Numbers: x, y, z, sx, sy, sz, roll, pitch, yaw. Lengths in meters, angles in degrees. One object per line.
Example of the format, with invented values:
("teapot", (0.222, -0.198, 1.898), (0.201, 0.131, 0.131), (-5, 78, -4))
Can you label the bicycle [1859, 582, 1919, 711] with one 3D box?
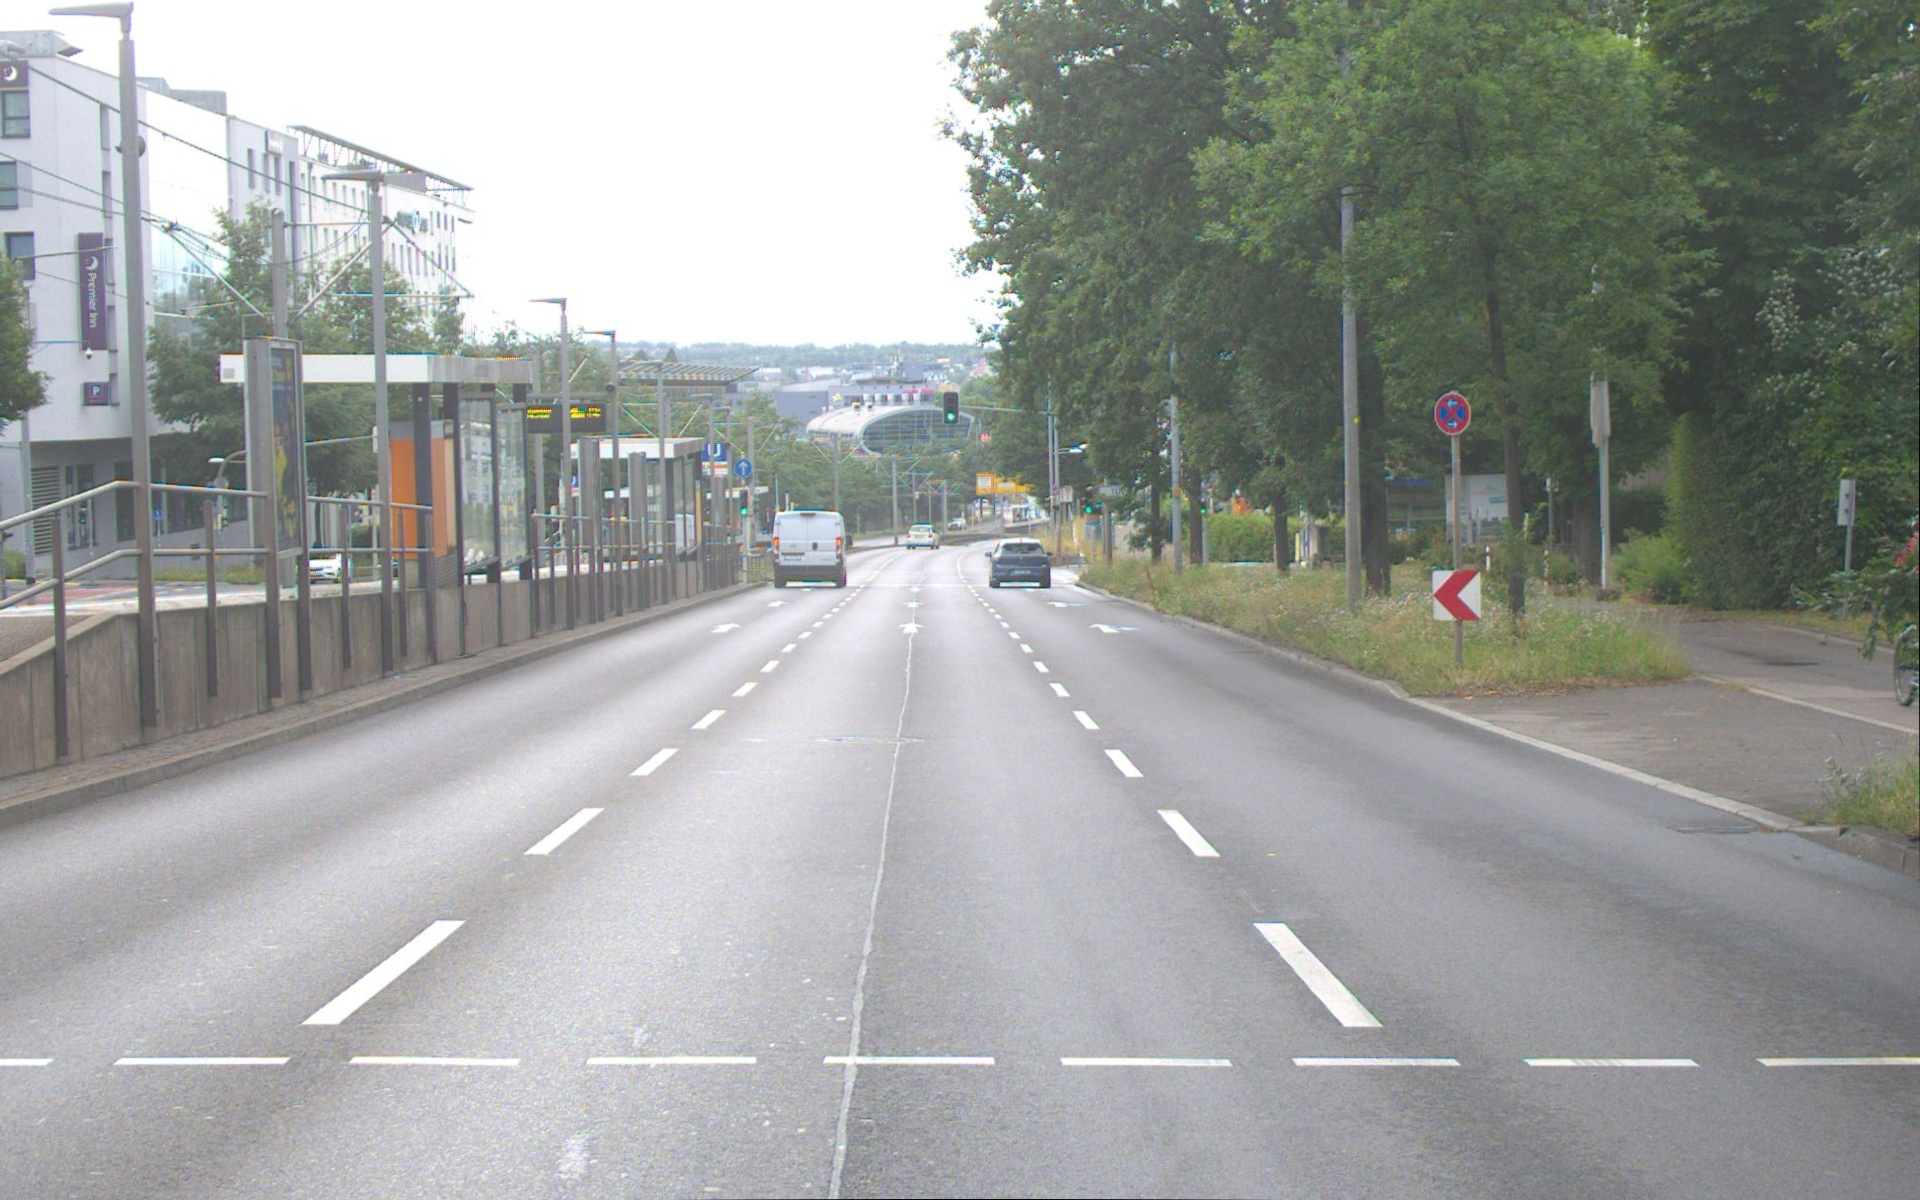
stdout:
("bicycle", (8.620, 0.405, 30.820), (0.580, 1.085, 1.906), (1, 1, -1))

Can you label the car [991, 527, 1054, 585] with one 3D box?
("car", (1.854, -1.321, 102.703), (1.774, 1.685, 3.845), (0, 1, -1))

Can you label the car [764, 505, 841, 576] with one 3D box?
("car", (-4.653, -1.764, 102.072), (2.093, 2.047, 4.606), (0, 1, -1))

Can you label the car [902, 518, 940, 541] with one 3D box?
("car", (-2.369, -4.323, 209.589), (1.783, 1.385, 3.999), (0, 1, 7))

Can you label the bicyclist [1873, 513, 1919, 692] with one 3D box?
("bicyclist", (8.607, 0.017, 30.702), (0.646, 1.573, 0.855), (1, 1, -1))
